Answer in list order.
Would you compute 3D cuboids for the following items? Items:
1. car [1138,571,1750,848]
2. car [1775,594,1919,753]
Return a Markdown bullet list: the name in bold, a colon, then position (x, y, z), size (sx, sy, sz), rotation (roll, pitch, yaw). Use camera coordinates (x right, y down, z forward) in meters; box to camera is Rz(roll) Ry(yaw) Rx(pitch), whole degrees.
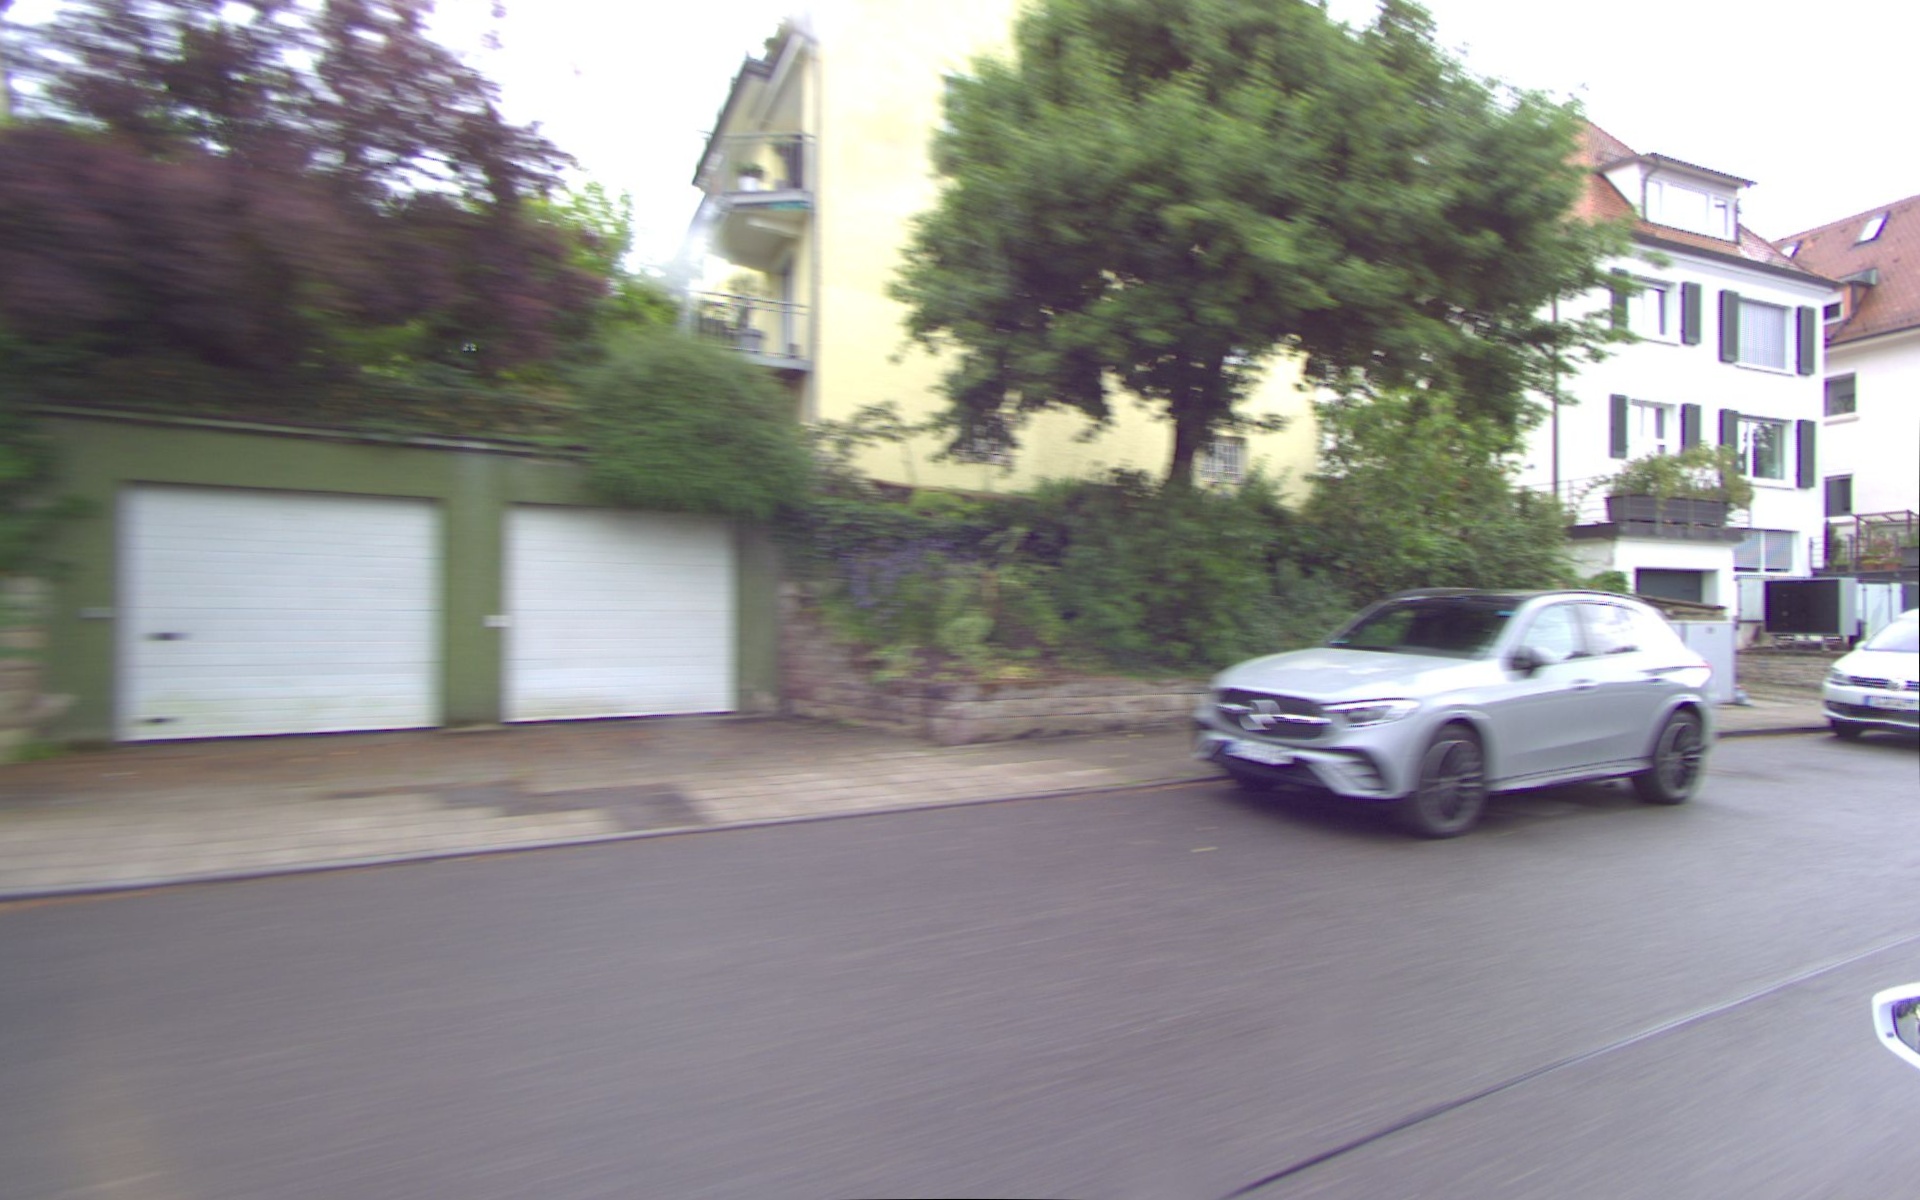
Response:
- **car**: position (3.916, 0.656, 7.982), size (4.703, 1.602, 1.985), rotation (1, 3, -29)
- **car**: position (12.776, 0.874, 12.750), size (4.677, 1.725, 1.986), rotation (1, 3, -27)
